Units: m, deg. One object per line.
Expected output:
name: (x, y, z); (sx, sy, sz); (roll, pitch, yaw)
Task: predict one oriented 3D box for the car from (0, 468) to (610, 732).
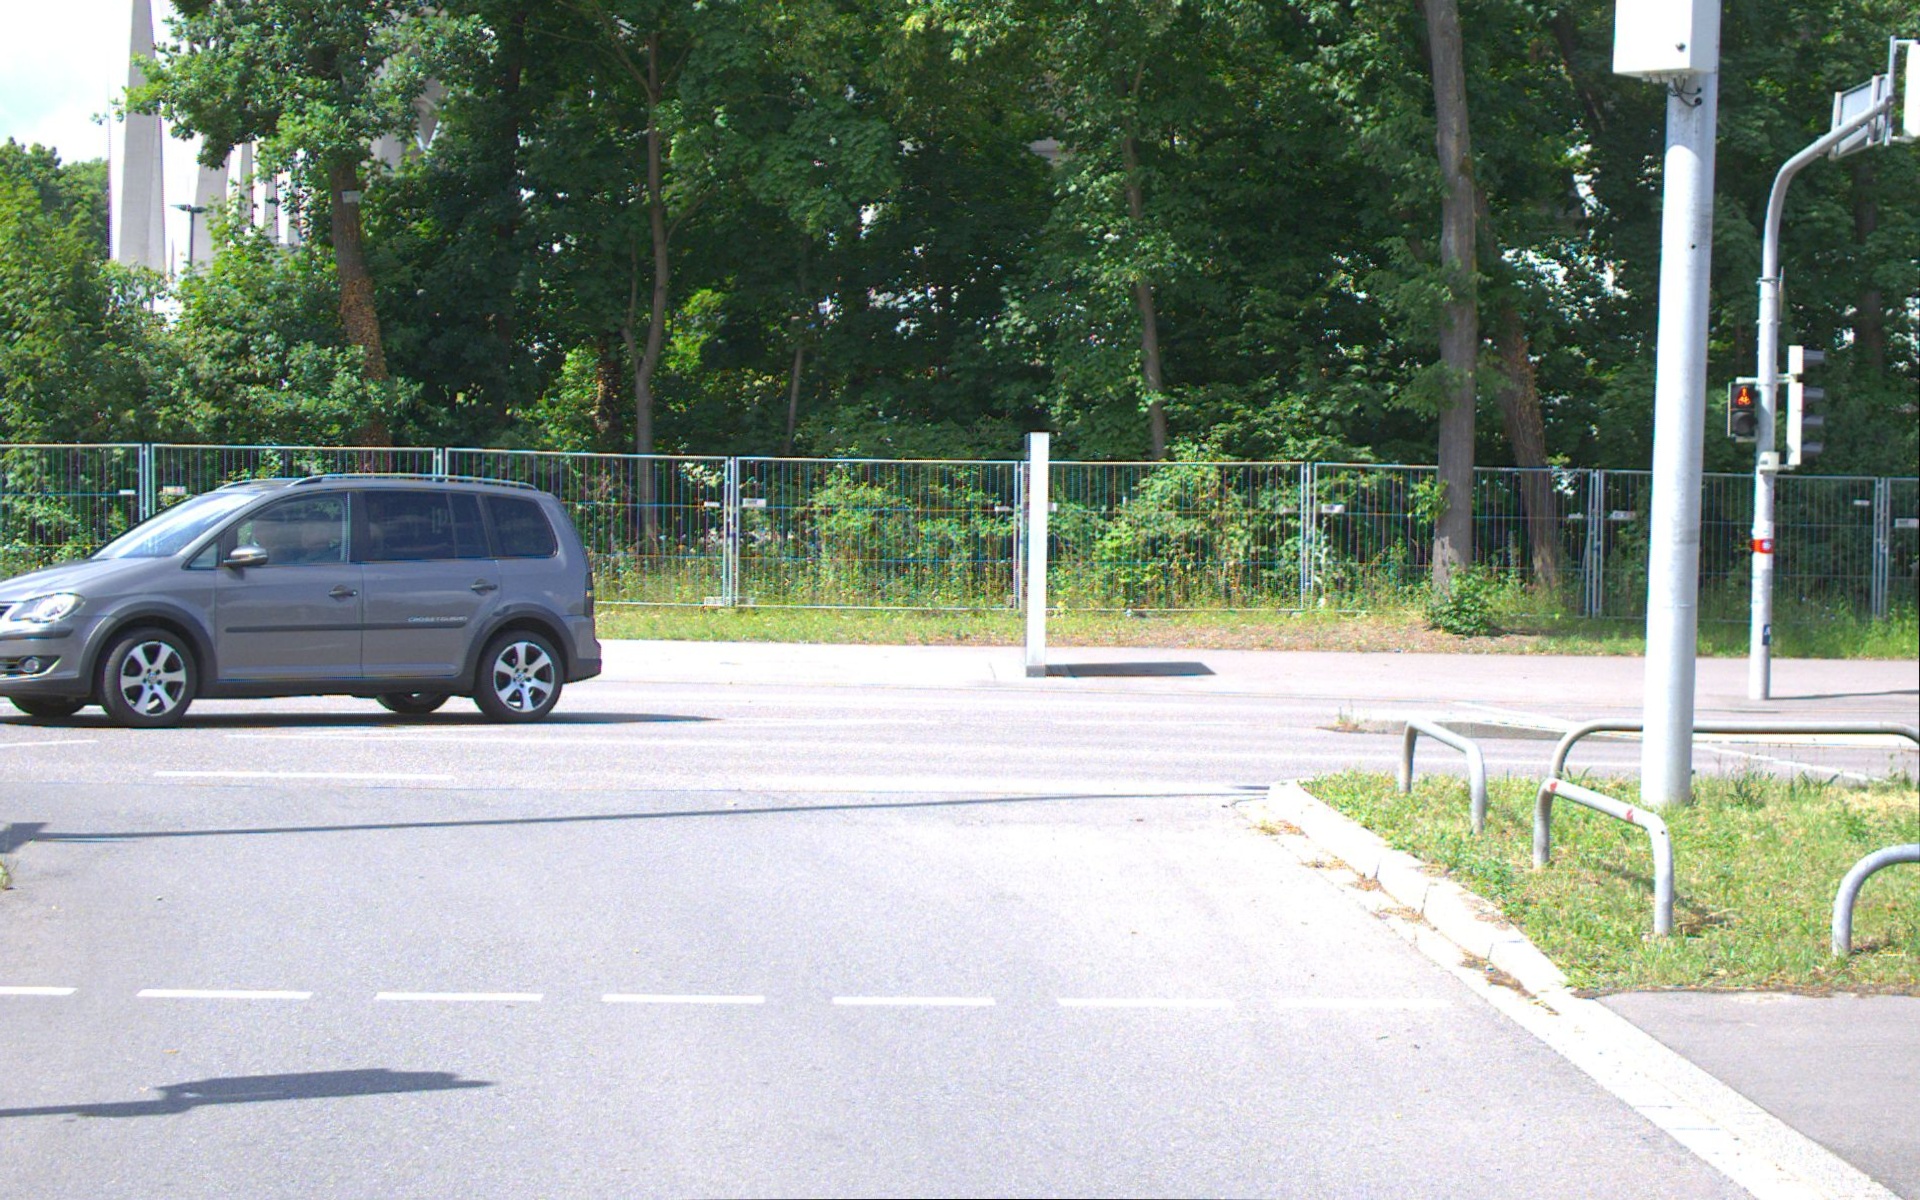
car: (-4.657, -0.048, 23.042); (4.286, 1.624, 1.766); (-1, 2, -35)
